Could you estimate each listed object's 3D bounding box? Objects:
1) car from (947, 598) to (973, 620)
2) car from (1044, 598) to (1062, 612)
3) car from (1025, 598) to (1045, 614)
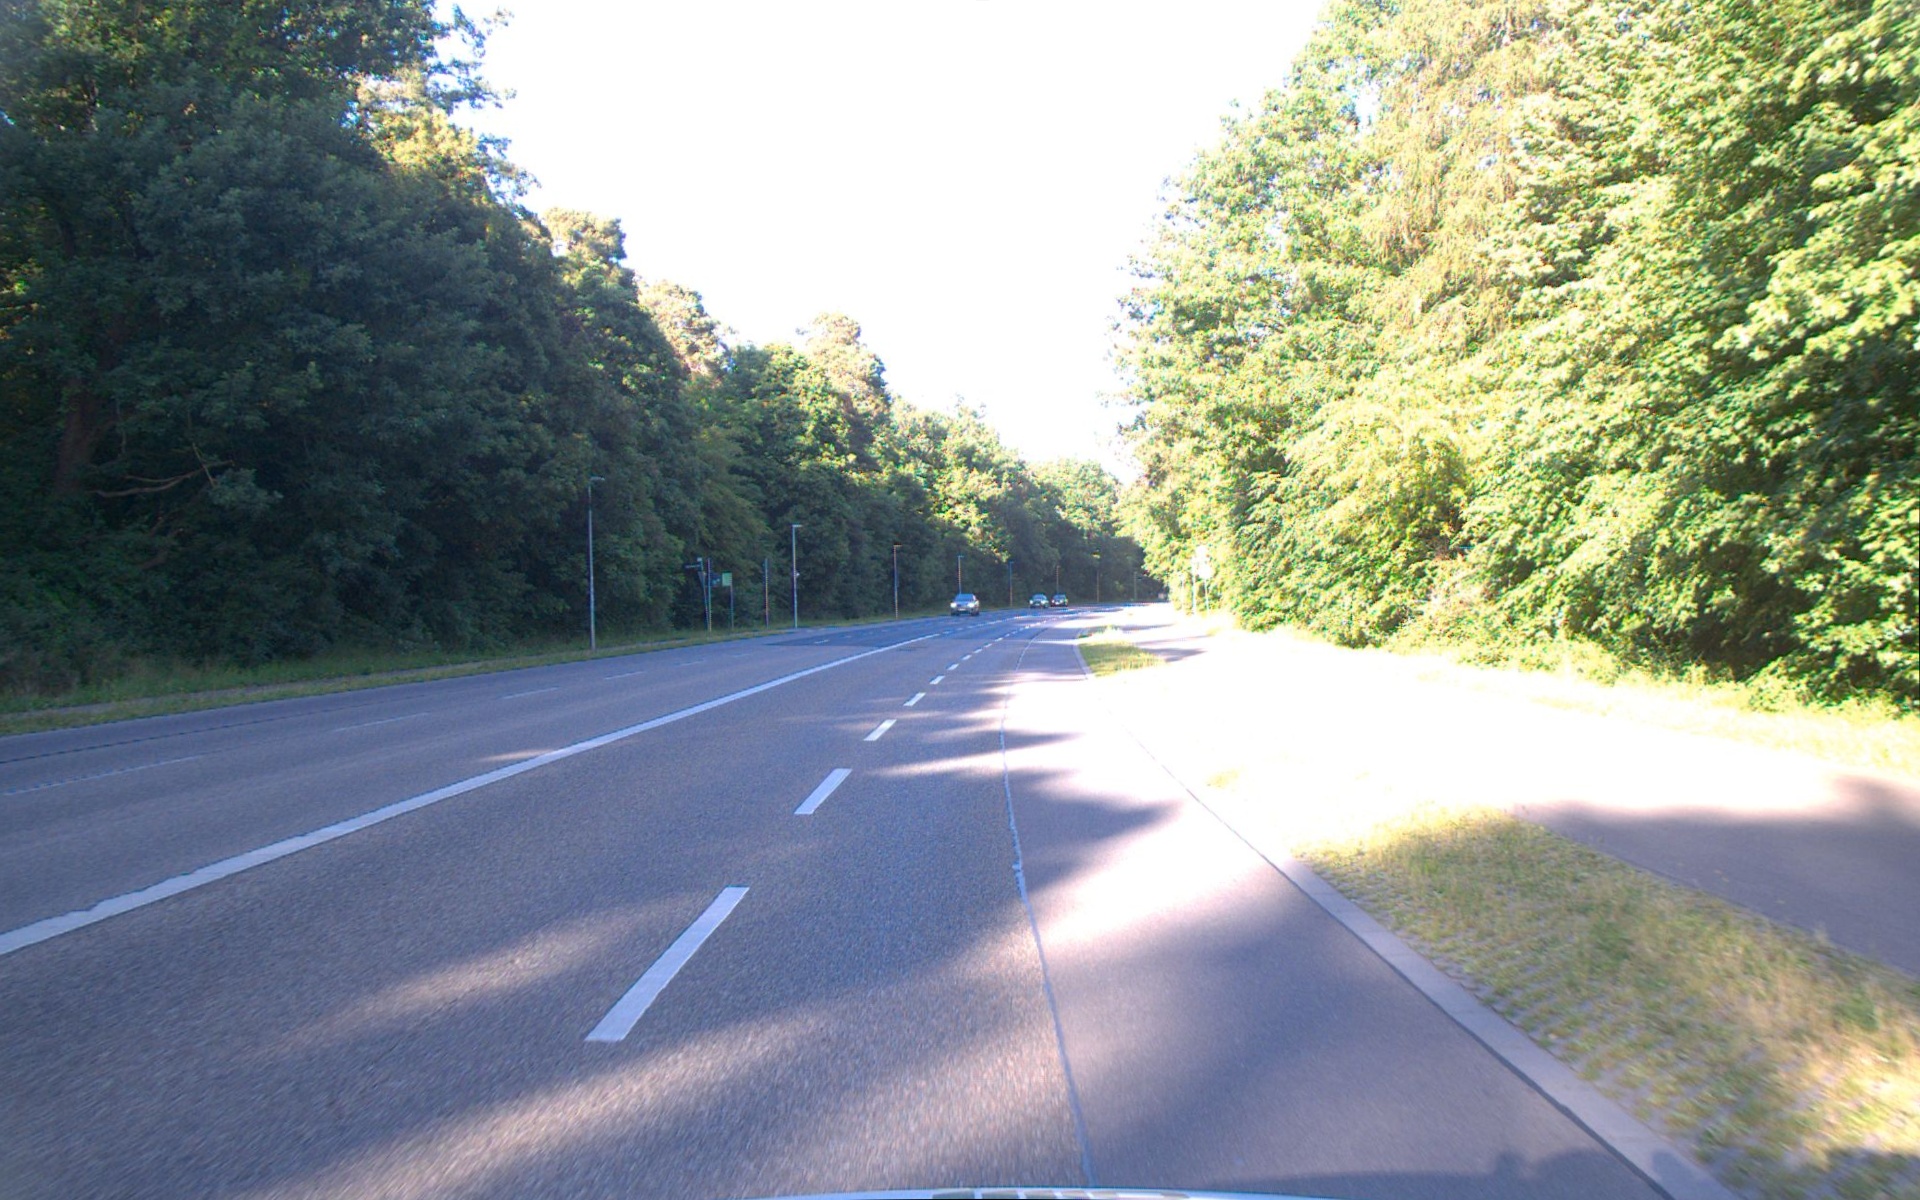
[{"bbox_3d":[-0.025,0.721,125.189,1.953,1.613,3.999,0,-1,0],"label":"car"},{"bbox_3d":[11.344,0.585,202.045,1.951,1.613,4.003,0,-1,8],"label":"car"},{"bbox_3d":[8.263,0.658,181.545,1.951,1.613,4.002,0,-1,6],"label":"car"}]
